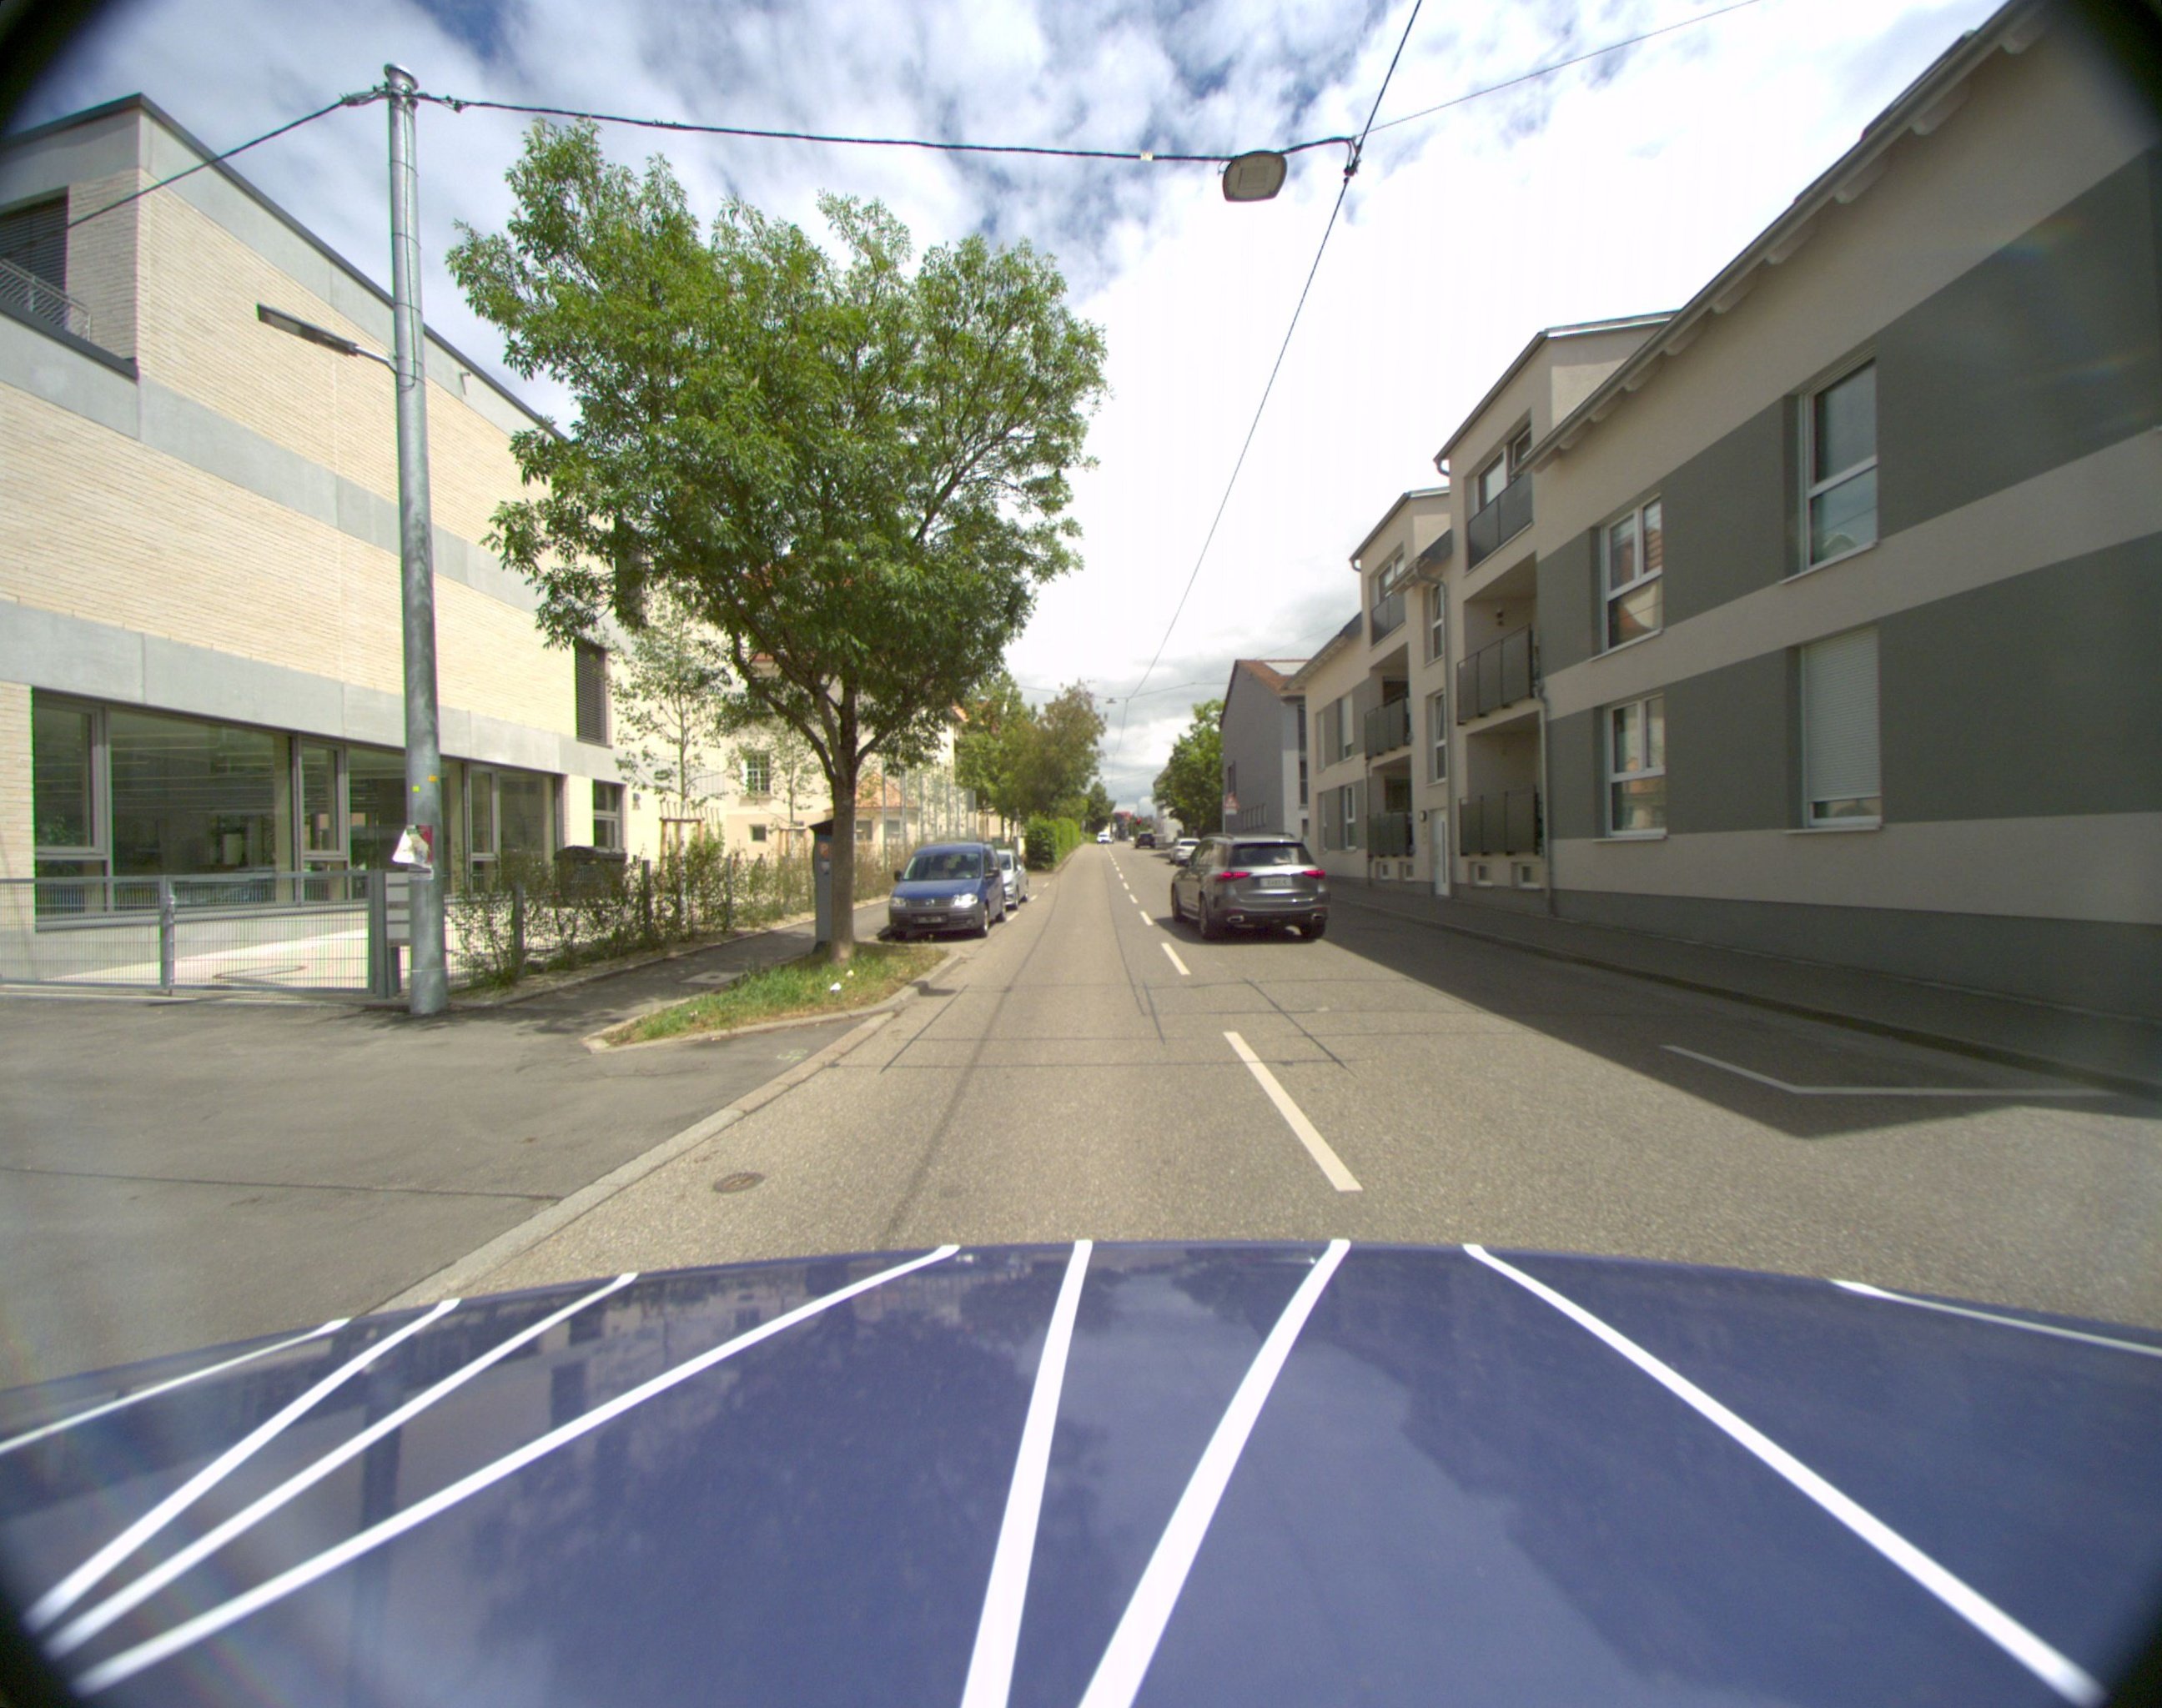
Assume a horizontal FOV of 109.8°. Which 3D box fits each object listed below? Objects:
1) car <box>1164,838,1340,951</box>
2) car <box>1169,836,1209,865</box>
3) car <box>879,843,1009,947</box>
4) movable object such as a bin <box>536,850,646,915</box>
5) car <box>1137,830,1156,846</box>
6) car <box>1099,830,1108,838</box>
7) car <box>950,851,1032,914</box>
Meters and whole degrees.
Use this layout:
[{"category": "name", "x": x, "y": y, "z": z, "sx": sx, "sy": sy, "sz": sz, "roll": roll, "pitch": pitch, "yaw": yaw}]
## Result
[{"category": "car", "x": 2.867, "y": 0.623, "z": 13.873, "sx": 1.946, "sy": 1.709, "sz": 4.595, "roll": 0, "pitch": 0, "yaw": -3}, {"category": "car", "x": 6.120, "y": -0.223, "z": 43.404, "sx": 1.737, "sy": 1.480, "sz": 4.065, "roll": 0, "pitch": 2, "yaw": 1}, {"category": "car", "x": -2.537, "y": 0.697, "z": 15.084, "sx": 1.698, "sy": 1.733, "sz": 4.159, "roll": -1, "pitch": 0, "yaw": 1}, {"category": "movable object such as a bin", "x": -11.620, "y": 0.637, "z": 18.115, "sx": 1.351, "sy": 1.438, "sz": 1.807, "roll": -1, "pitch": 1, "yaw": 2}, {"category": "car", "x": 6.527, "y": -1.647, "z": 76.405, "sx": 1.672, "sy": 1.545, "sz": 3.964, "roll": 0, "pitch": 2, "yaw": 1}, {"category": "car", "x": 3.448, "y": -3.141, "z": 118.715, "sx": 1.298, "sy": 1.148, "sz": 2.983, "roll": -3, "pitch": 0, "yaw": 1}, {"category": "car", "x": -2.358, "y": 0.706, "z": 20.769, "sx": 1.677, "sy": 1.510, "sz": 3.670, "roll": -1, "pitch": 0, "yaw": 1}]
